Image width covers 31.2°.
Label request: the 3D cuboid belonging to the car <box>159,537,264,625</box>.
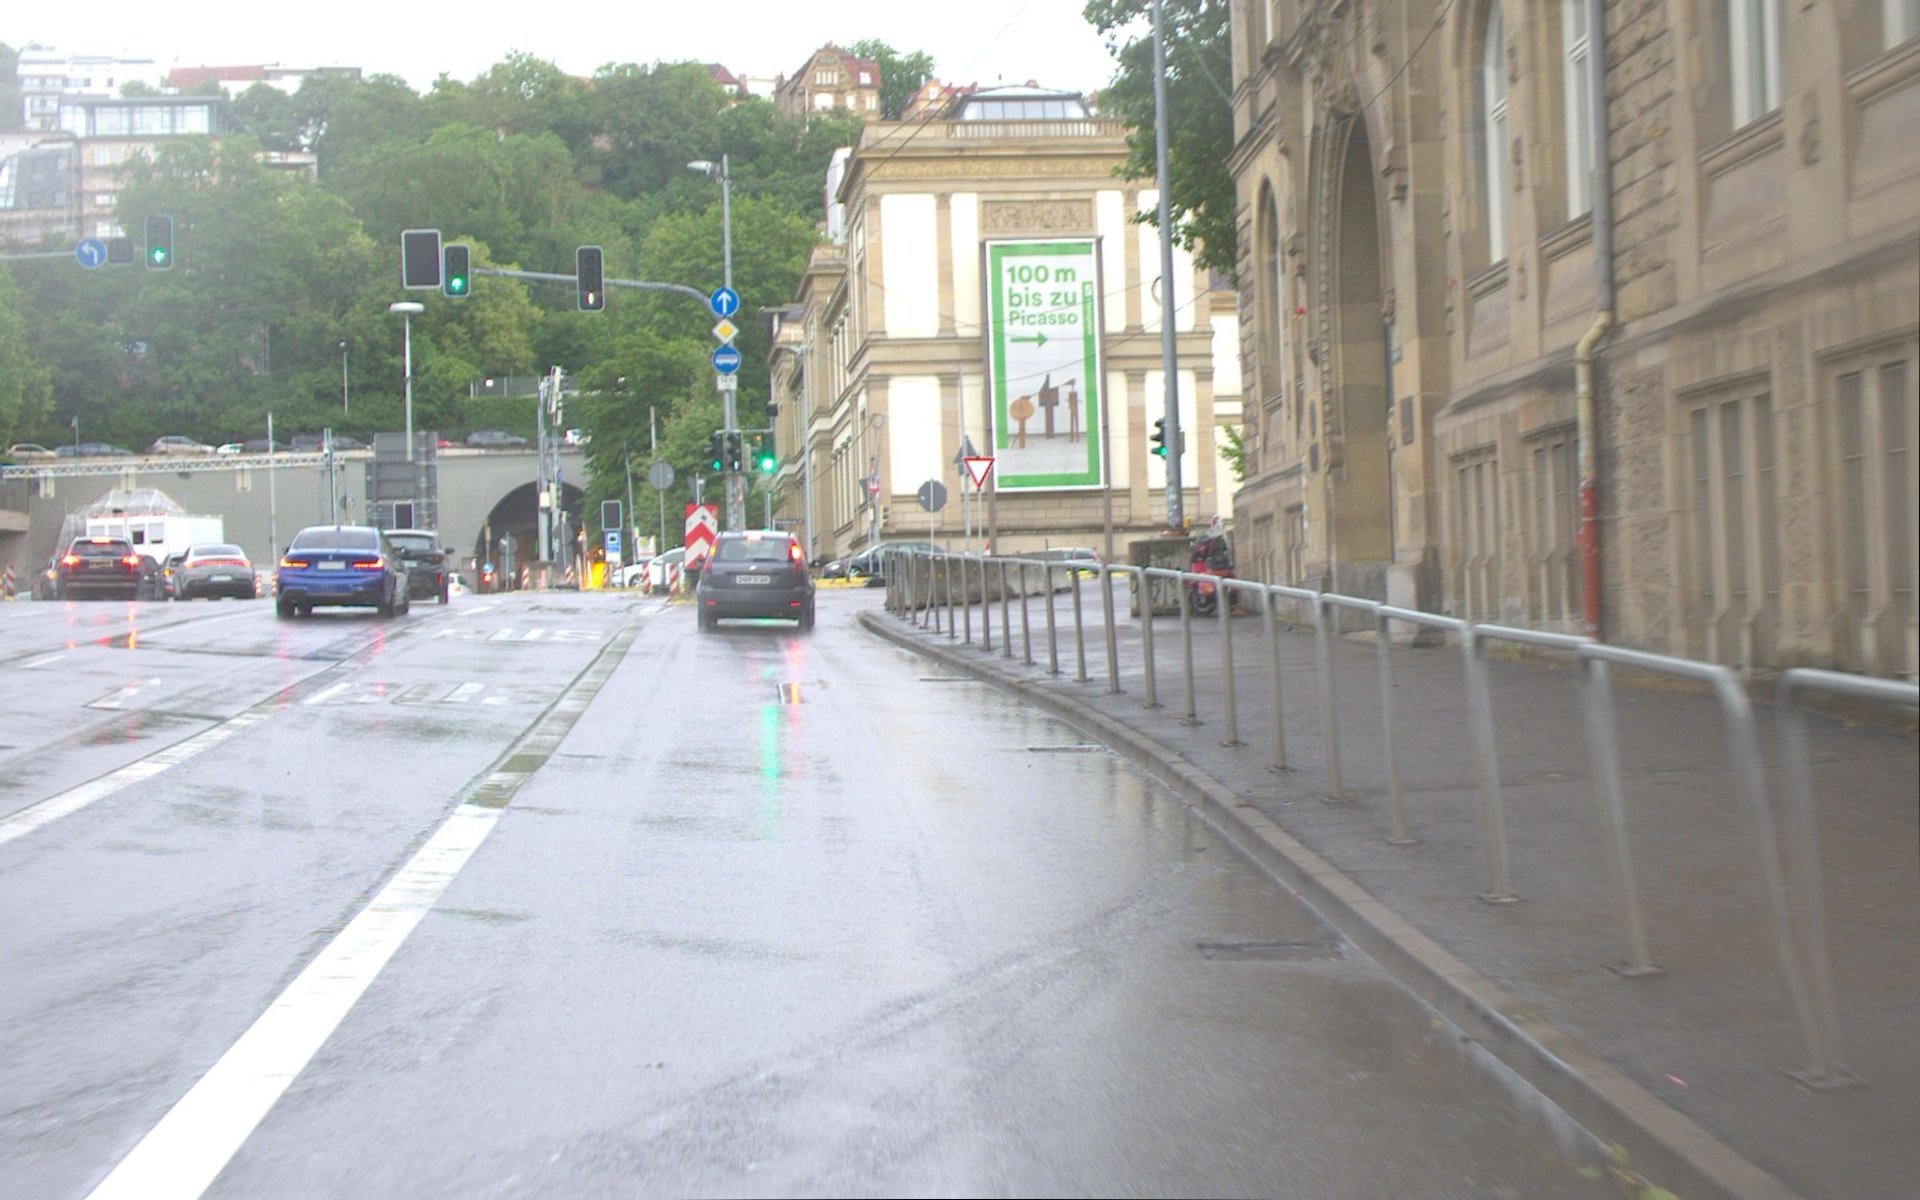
[{"bbox_3d":[-18.635,-0.453,85.736,2.051,2.007,4.000,-2,-1,-6],"label":"car"}]

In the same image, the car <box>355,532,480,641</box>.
[{"bbox_3d":[-10.852,-0.243,69.009,1.776,2.007,3.999,-2,-1,1],"label":"car"}]

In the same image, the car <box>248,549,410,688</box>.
[{"bbox_3d":[-10.003,0.334,54.721,2.104,2.044,4.000,-2,-1,-5],"label":"car"}]

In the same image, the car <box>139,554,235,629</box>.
[{"bbox_3d":[-22.481,-0.229,100.100,1.993,2.007,4.000,-2,-1,-2],"label":"car"}]

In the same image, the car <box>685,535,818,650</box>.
[{"bbox_3d":[-3.033,-0.083,50.598,1.812,1.522,4.000,-2,-1,-2],"label":"car"}]

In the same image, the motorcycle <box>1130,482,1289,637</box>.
[{"bbox_3d":[3.378,-0.563,47.180,1.795,2.007,3.813,-1,1,-1],"label":"motorcycle"}]

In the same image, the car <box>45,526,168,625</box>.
[{"bbox_3d":[-19.076,-0.525,76.968,2.016,2.007,4.000,-2,-1,-5],"label":"car"}]
